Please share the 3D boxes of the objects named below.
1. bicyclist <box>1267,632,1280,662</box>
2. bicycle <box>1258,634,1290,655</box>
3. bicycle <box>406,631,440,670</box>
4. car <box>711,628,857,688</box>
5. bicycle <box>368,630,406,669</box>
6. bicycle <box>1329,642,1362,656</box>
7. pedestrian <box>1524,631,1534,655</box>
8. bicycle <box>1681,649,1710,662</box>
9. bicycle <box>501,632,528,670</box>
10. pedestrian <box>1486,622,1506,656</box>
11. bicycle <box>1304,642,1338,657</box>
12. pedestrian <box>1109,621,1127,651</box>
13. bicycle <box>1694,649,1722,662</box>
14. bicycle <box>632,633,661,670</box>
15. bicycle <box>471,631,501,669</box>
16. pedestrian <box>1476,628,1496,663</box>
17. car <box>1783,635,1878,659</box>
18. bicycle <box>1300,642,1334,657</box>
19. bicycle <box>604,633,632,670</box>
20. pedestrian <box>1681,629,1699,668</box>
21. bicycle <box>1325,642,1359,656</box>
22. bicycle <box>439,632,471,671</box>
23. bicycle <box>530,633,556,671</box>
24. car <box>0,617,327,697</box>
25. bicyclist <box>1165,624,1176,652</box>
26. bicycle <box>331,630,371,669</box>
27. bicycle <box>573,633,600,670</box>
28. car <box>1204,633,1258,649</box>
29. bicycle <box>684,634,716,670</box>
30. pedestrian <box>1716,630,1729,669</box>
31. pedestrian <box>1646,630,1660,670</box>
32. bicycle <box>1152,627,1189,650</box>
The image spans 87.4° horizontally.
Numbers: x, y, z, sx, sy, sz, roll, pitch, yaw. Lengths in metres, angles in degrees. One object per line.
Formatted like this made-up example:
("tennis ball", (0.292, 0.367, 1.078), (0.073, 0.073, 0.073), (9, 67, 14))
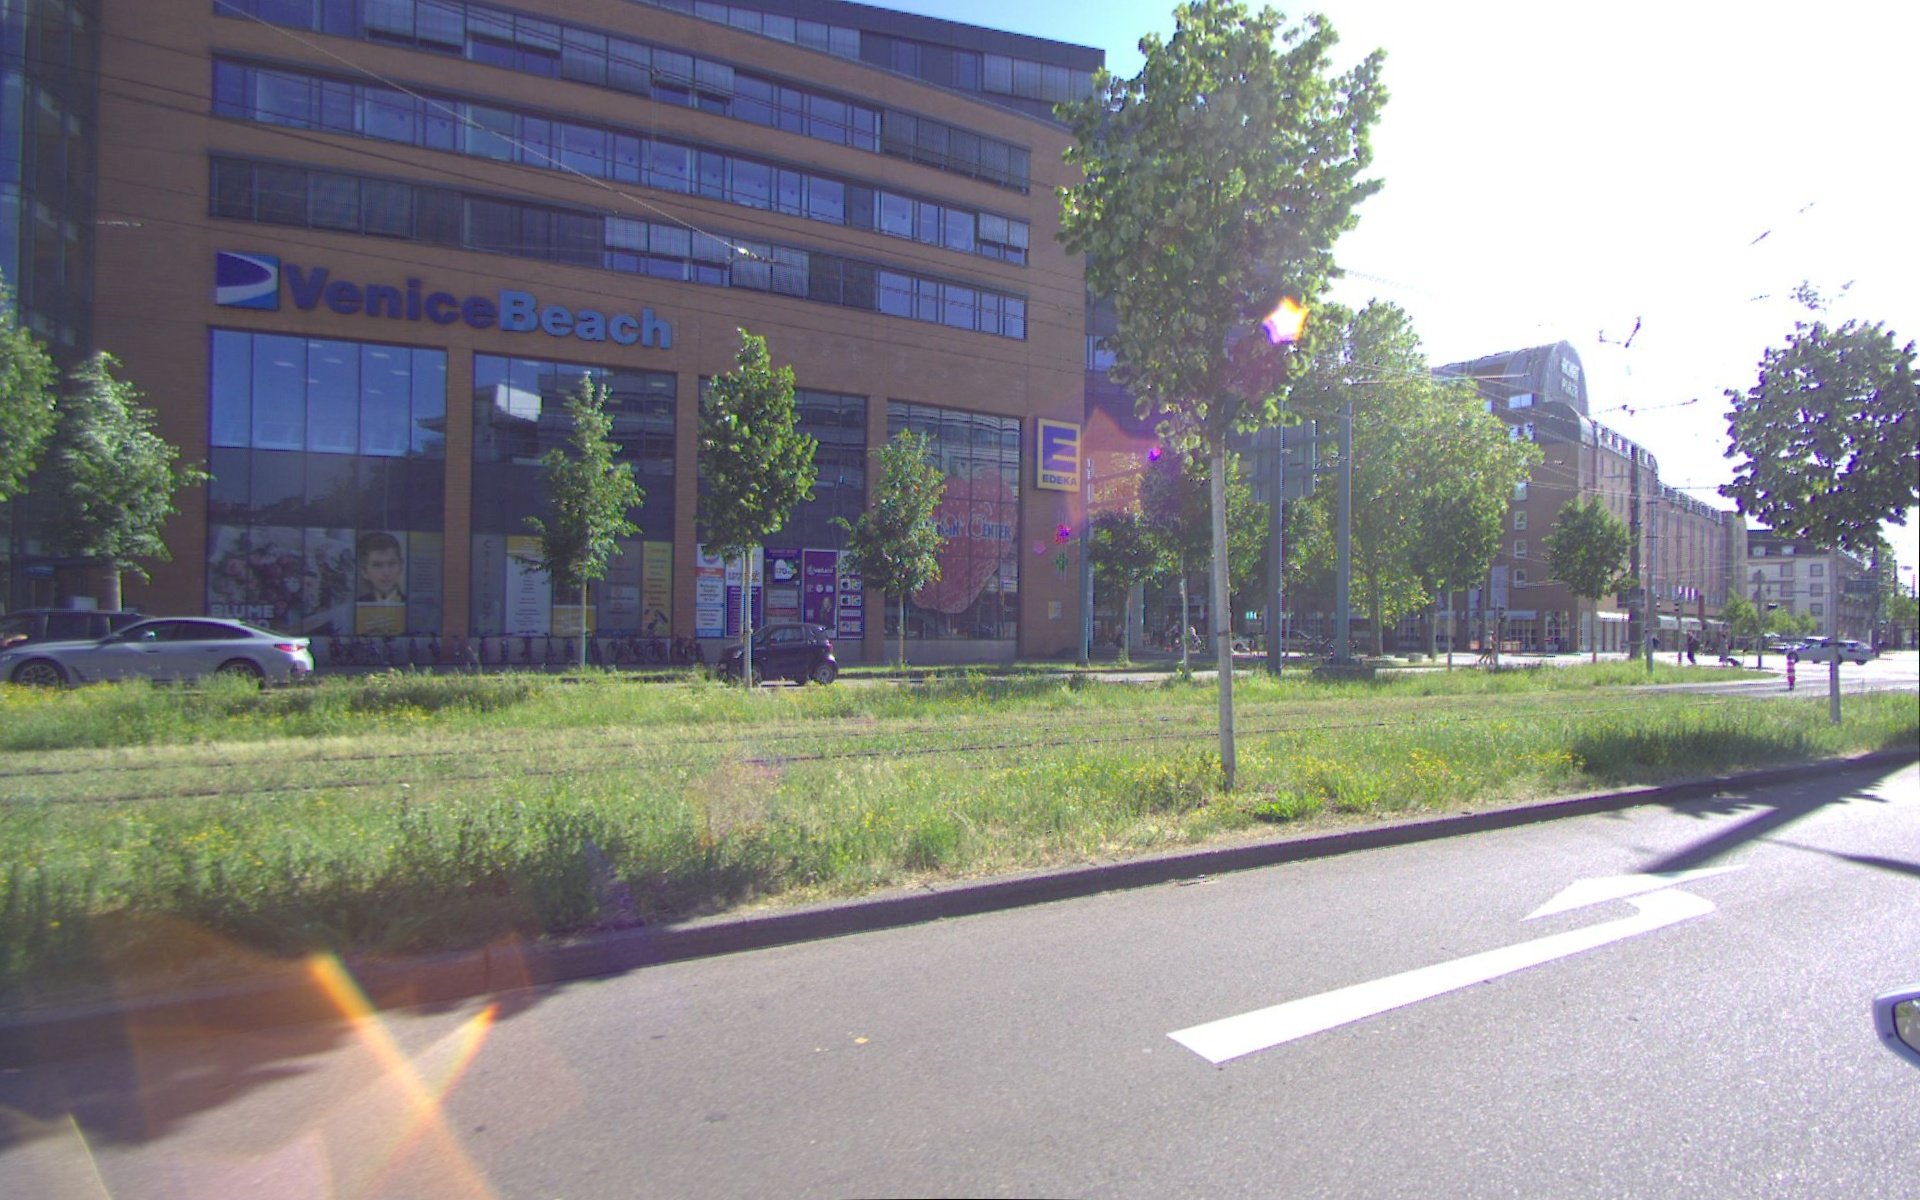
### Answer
("bicyclist", (14.885, 2.228, 47.655), (0.477, 1.395, 0.338), (3, -2, -34))
("bicycle", (14.925, 2.098, 47.686), (1.876, 0.938, 0.351), (3, -2, -34))
("bicycle", (-17.209, 1.604, 32.237), (0.742, 1.138, 2.168), (1, 0, -23))
("car", (-4.310, 1.405, 24.728), (3.257, 1.377, 1.421), (2, -2, -30))
("bicycle", (-18.170, 1.556, 31.881), (0.742, 1.138, 2.168), (1, 0, -23))
("bicycle", (24.286, 3.101, 63.308), (0.373, 0.809, 2.006), (2, -2, -41))
("pedestrian", (47.340, 3.550, 83.588), (0.517, 1.957, 0.747), (-1, -2, 45))
("bicycle", (81.656, 6.178, 111.527), (0.726, 1.327, 2.469), (2, -2, -34))
("bicycle", (-14.608, 1.646, 32.974), (0.742, 1.138, 2.168), (1, 0, -23))
("pedestrian", (29.242, 2.121, 54.793), (0.616, 1.855, 0.759), (1, -1, -23))
("bicycle", (21.736, 2.979, 60.493), (0.373, 0.809, 2.006), (2, -2, -41))
("pedestrian", (8.898, 2.044, 56.547), (0.780, 1.645, 0.503), (3, -2, -33))
("bicycle", (84.161, 6.254, 113.069), (0.726, 1.327, 2.469), (2, -2, -34))
("bicycle", (-10.801, 1.754, 34.557), (0.742, 1.138, 2.168), (1, 0, -23))
("bicycle", (-15.406, 1.606, 32.669), (0.742, 1.138, 2.168), (1, 0, -23))
("pedestrian", (28.328, 2.443, 54.073), (0.616, 1.855, 0.758), (1, -1, -27))
("car", (55.371, 2.964, 63.979), (2.028, 1.399, 4.410), (1, -2, -5))
("bicycle", (21.102, 2.935, 59.386), (0.373, 0.809, 2.006), (2, -2, -41))
("bicycle", (-11.701, 1.742, 34.304), (0.742, 1.138, 2.168), (1, 0, -23))
("pedestrian", (34.517, 2.292, 47.514), (0.571, 1.855, 0.498), (0, -1, 20))
("bicycle", (23.492, 3.037, 61.807), (0.373, 0.809, 2.006), (2, -2, -41))
("bicycle", (-16.347, 1.646, 32.526), (0.742, 1.138, 2.168), (1, 0, -23))
("bicycle", (-13.737, 1.697, 33.085), (0.742, 1.138, 2.168), (1, 0, -23))
("car", (-14.859, 1.038, 18.957), (4.729, 1.352, 1.986), (1, -2, -27))
("bicyclist", (13.024, 2.335, 62.054), (0.478, 1.744, 0.463), (-1, -2, 44))
("bicycle", (-19.121, 1.530, 31.586), (0.742, 1.138, 2.168), (1, 0, -23))
("bicycle", (-12.622, 1.708, 33.899), (0.742, 1.138, 2.168), (1, 0, -23))
("car", (21.181, 3.220, 78.629), (1.763, 1.158, 3.964), (2, -2, -33))
("bicycle", (-9.123, 1.804, 35.192), (0.742, 1.138, 2.168), (1, 0, -23))
("pedestrian", (36.609, 2.374, 48.221), (0.379, 1.855, 0.463), (0, -1, 26))
("pedestrian", (32.756, 2.346, 47.475), (0.452, 1.855, 0.459), (0, -1, 20))
("bicycle", (12.987, 2.368, 62.108), (2.339, 1.370, 0.463), (-1, -2, 44))
